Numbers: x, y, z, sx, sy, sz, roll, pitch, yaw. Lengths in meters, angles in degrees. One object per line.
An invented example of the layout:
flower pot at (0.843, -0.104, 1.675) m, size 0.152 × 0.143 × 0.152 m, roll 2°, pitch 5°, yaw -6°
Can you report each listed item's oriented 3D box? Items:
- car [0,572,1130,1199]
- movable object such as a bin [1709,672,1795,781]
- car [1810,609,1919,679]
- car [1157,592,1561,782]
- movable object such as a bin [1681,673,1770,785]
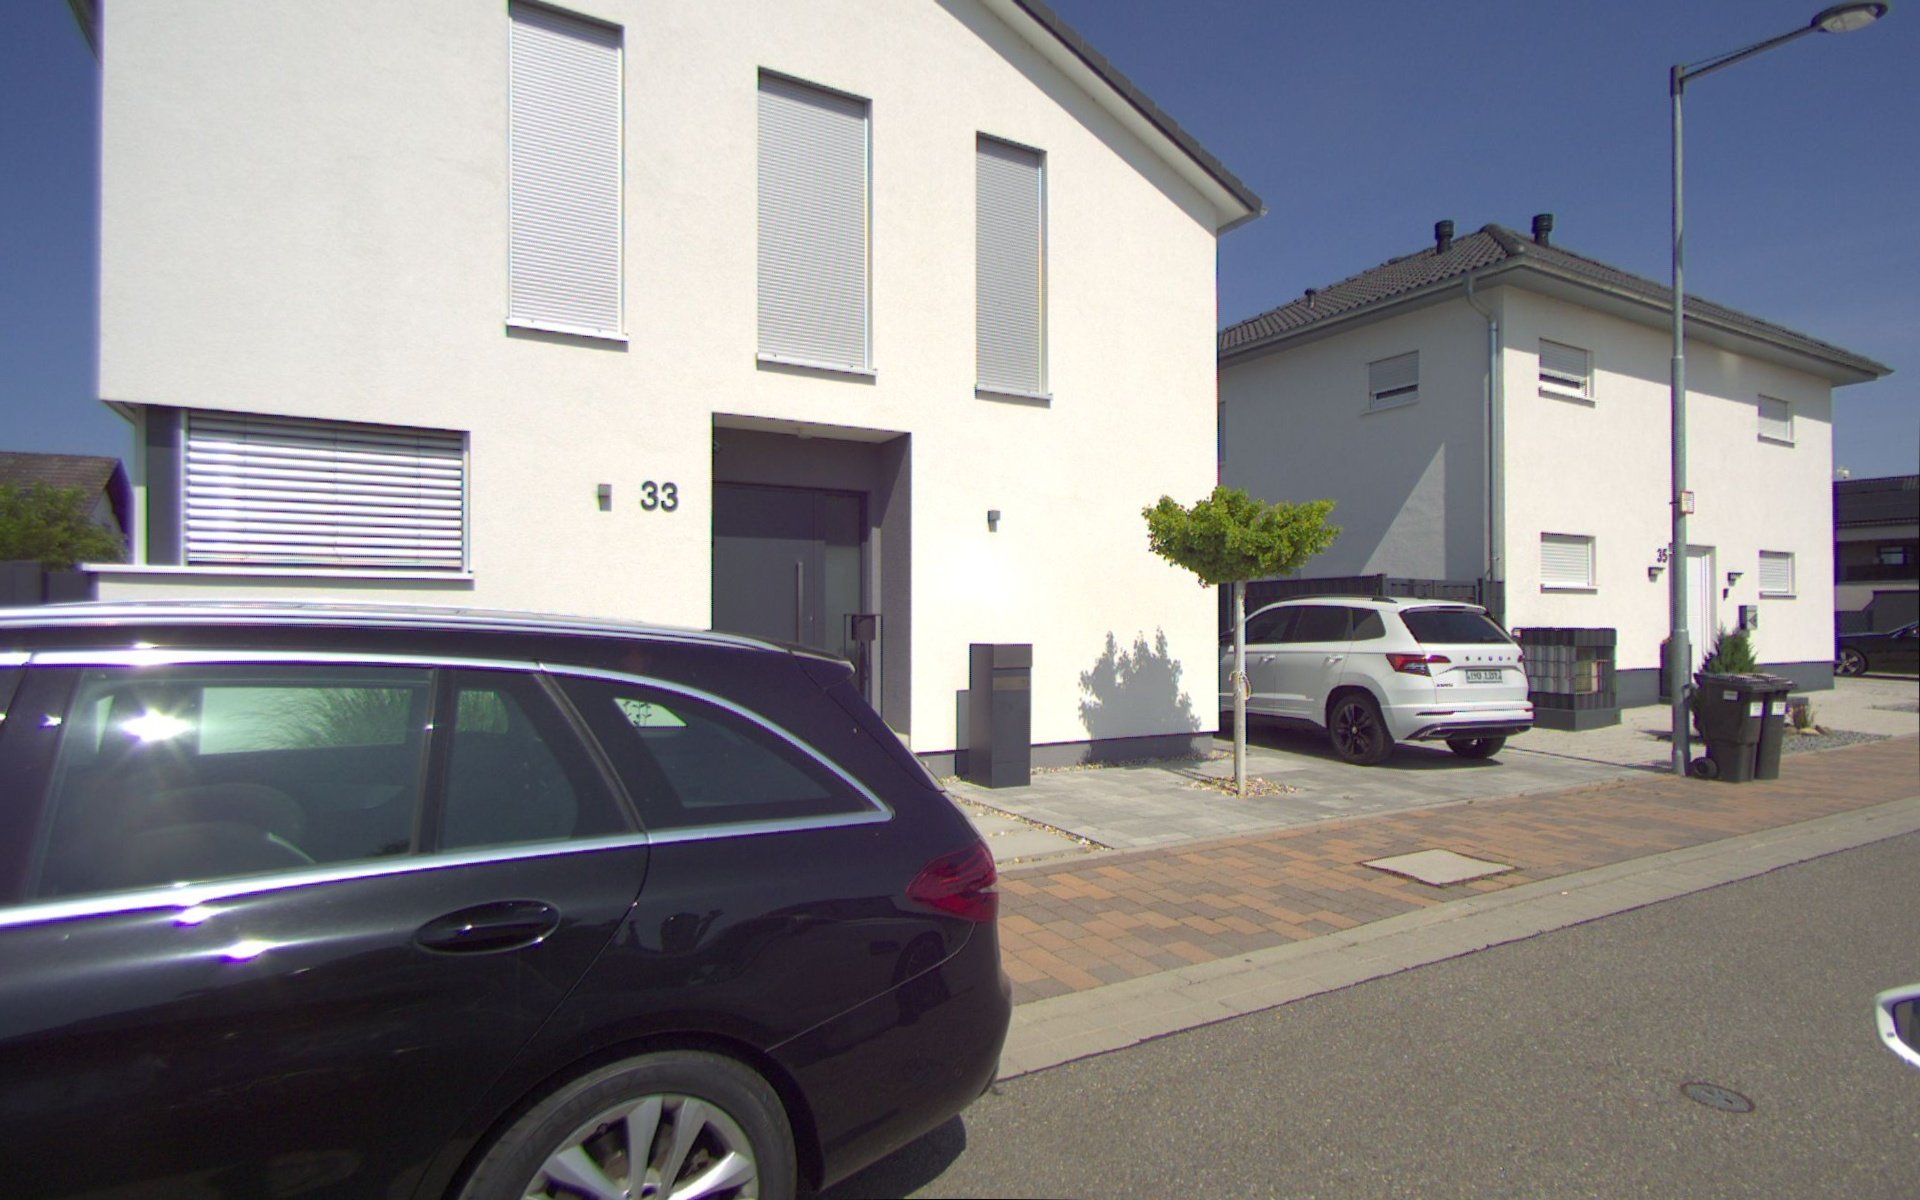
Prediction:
car at (-1.929, 0.699, 1.938) m, size 4.393 × 1.492 × 1.682 m, roll 1°, pitch 1°, yaw -31°
movable object such as a bin at (7.338, 1.151, 9.312) m, size 0.525 × 0.938 × 0.483 m, roll 1°, pitch -1°, yaw -33°
car at (21.147, 0.951, 21.503) m, size 1.737 × 1.471 × 4.351 m, roll 1°, pitch 0°, yaw -43°
car at (4.035, 0.773, 10.861) m, size 1.770 × 1.641 × 3.943 m, roll 1°, pitch 0°, yaw -25°
movable object such as a bin at (6.869, 1.138, 9.015) m, size 0.525 × 0.938 × 0.483 m, roll 1°, pitch -1°, yaw -33°
